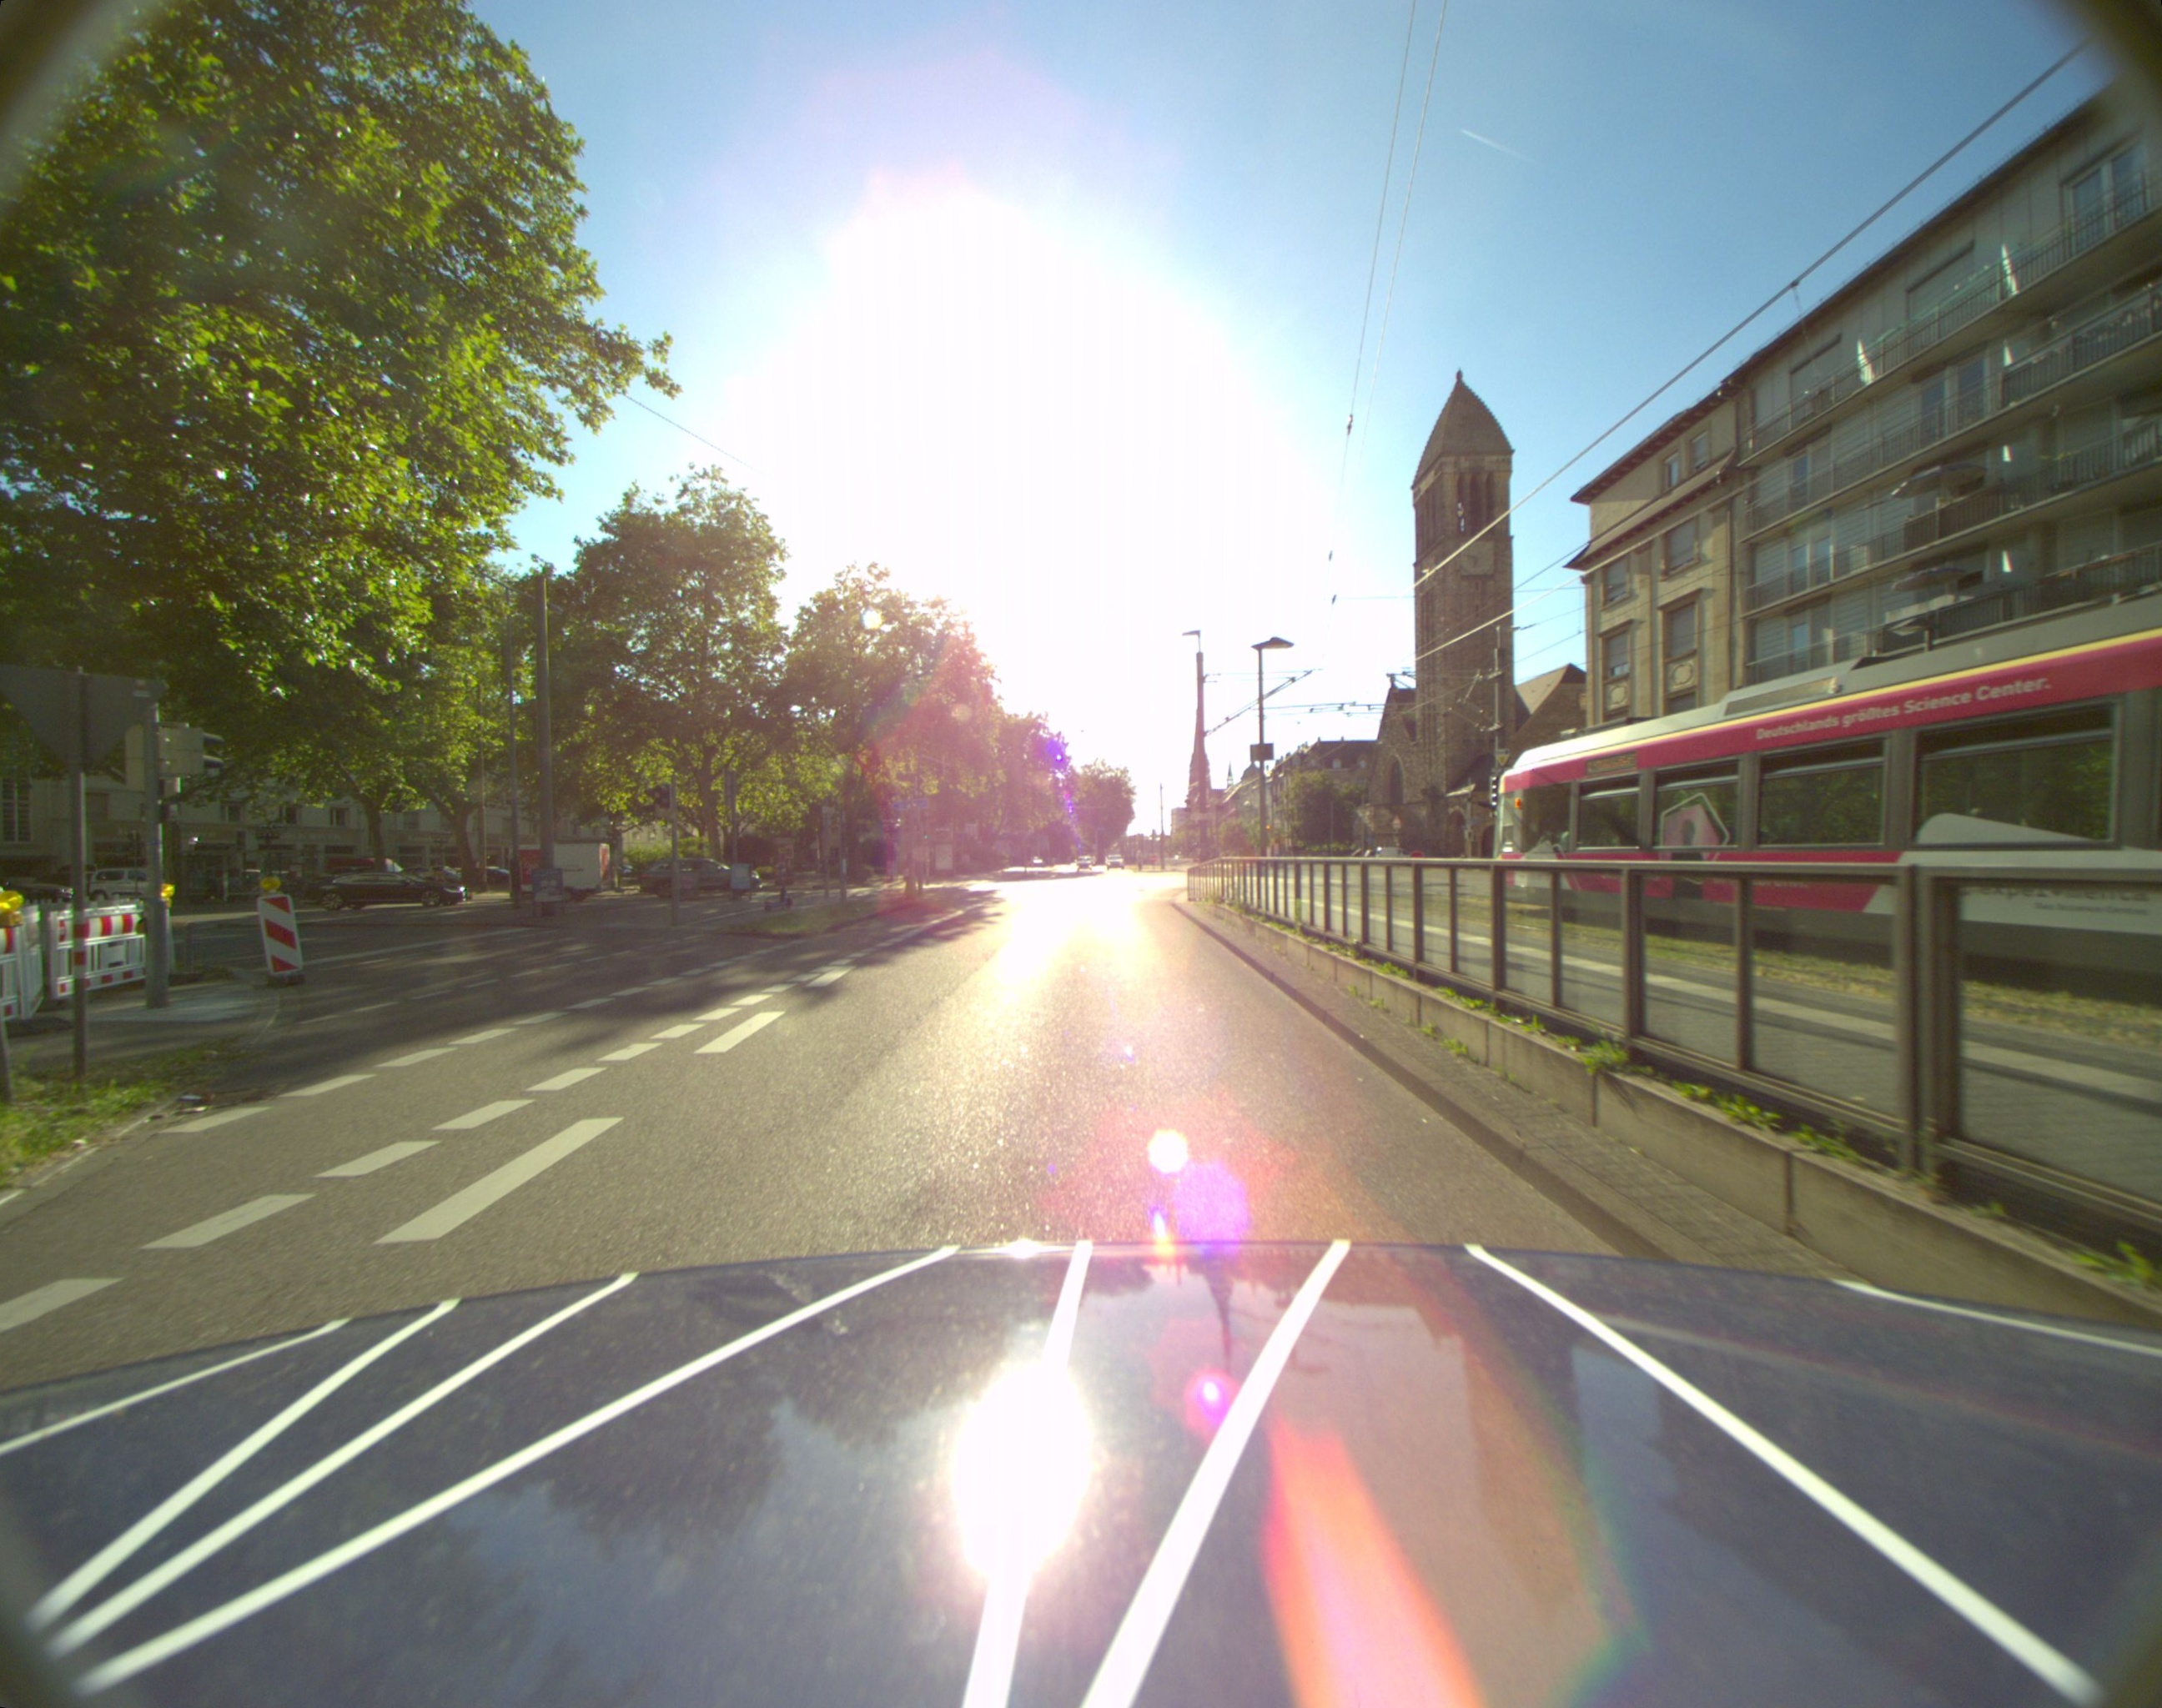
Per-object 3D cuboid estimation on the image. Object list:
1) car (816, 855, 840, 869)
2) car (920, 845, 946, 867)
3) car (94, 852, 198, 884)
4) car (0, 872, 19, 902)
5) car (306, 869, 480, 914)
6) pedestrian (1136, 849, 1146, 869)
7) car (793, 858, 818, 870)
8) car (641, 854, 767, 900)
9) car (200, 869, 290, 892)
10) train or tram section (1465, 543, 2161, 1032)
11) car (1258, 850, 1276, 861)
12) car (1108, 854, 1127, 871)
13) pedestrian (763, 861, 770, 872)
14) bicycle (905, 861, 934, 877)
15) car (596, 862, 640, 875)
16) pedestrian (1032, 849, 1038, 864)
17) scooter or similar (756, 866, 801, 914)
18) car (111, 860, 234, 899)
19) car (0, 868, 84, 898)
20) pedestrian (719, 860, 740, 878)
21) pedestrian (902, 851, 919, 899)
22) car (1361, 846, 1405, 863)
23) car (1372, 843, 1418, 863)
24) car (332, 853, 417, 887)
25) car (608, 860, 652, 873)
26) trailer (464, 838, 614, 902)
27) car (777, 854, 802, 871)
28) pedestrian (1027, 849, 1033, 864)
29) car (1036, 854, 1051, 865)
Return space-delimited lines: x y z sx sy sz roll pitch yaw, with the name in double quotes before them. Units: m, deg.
"car" -32.692 1.005 98.222 1.710 1.650 4.179 -2 0 -1
"car" -19.017 0.230 97.782 1.998 2.726 4.715 -3 1 2
"car" -57.295 0.843 46.601 4.349 1.860 1.762 1 1 2
"car" -58.143 1.698 39.072 4.351 1.472 1.730 1 1 -3
"car" -25.985 1.368 28.912 4.441 1.353 1.932 -3 1 -20
"pedestrian" 5.103 0.412 64.774 0.678 1.611 0.925 -3 1 -1
"car" -35.353 1.300 97.731 1.710 1.493 4.179 -2 0 -1
"car" -16.108 0.957 32.721 4.584 1.630 1.932 -3 1 -20
"car" -57.491 1.820 52.298 4.349 1.472 1.780 1 1 2
"train or tram section" 9.644 -0.544 9.345 2.876 3.654 14.560 -1 0 2
"car" 28.184 0.208 115.251 1.786 1.521 4.214 -3 0 2
"car" 3.578 0.783 74.763 1.636 1.491 4.000 -3 0 2
"pedestrian" -38.010 1.493 91.943 0.632 1.219 0.539 -3 1 -15
"bicycle" -10.961 1.015 51.502 1.827 1.047 0.534 -2 0 -25
"car" -56.064 1.731 92.061 4.349 1.512 1.780 1 1 2
"pedestrian" -5.698 0.284 93.993 0.631 1.833 0.540 -3 1 0
"scooter or similar" -8.371 0.988 21.057 0.561 1.250 1.291 0 1 10
"car" -46.702 1.274 39.123 4.349 1.860 1.762 1 1 2
"car" -57.320 1.562 41.203 4.349 1.472 1.762 1 1 2
"pedestrian" -25.994 1.083 56.215 1.141 1.233 0.790 -3 1 1
"pedestrian" -5.881 0.724 26.267 0.429 1.629 0.613 -2 1 -6
"car" 32.877 0.059 82.736 4.040 1.621 1.768 -3 1 2
"car" 32.987 -0.112 79.946 4.024 1.795 1.870 -3 1 2
"car" -57.590 1.280 61.999 5.063 2.652 2.168 1 1 2
"car" -55.783 1.491 93.981 4.349 1.512 1.780 1 1 2
"trailer" -21.668 0.614 30.634 4.520 2.359 1.911 -1 0 -20
"car" -37.704 1.084 98.353 1.710 2.015 4.179 -2 0 -1
"pedestrian" -6.358 0.255 93.995 0.631 1.833 0.540 -3 1 0
"car" -5.094 0.755 104.090 1.720 1.319 3.754 -3 0 2
